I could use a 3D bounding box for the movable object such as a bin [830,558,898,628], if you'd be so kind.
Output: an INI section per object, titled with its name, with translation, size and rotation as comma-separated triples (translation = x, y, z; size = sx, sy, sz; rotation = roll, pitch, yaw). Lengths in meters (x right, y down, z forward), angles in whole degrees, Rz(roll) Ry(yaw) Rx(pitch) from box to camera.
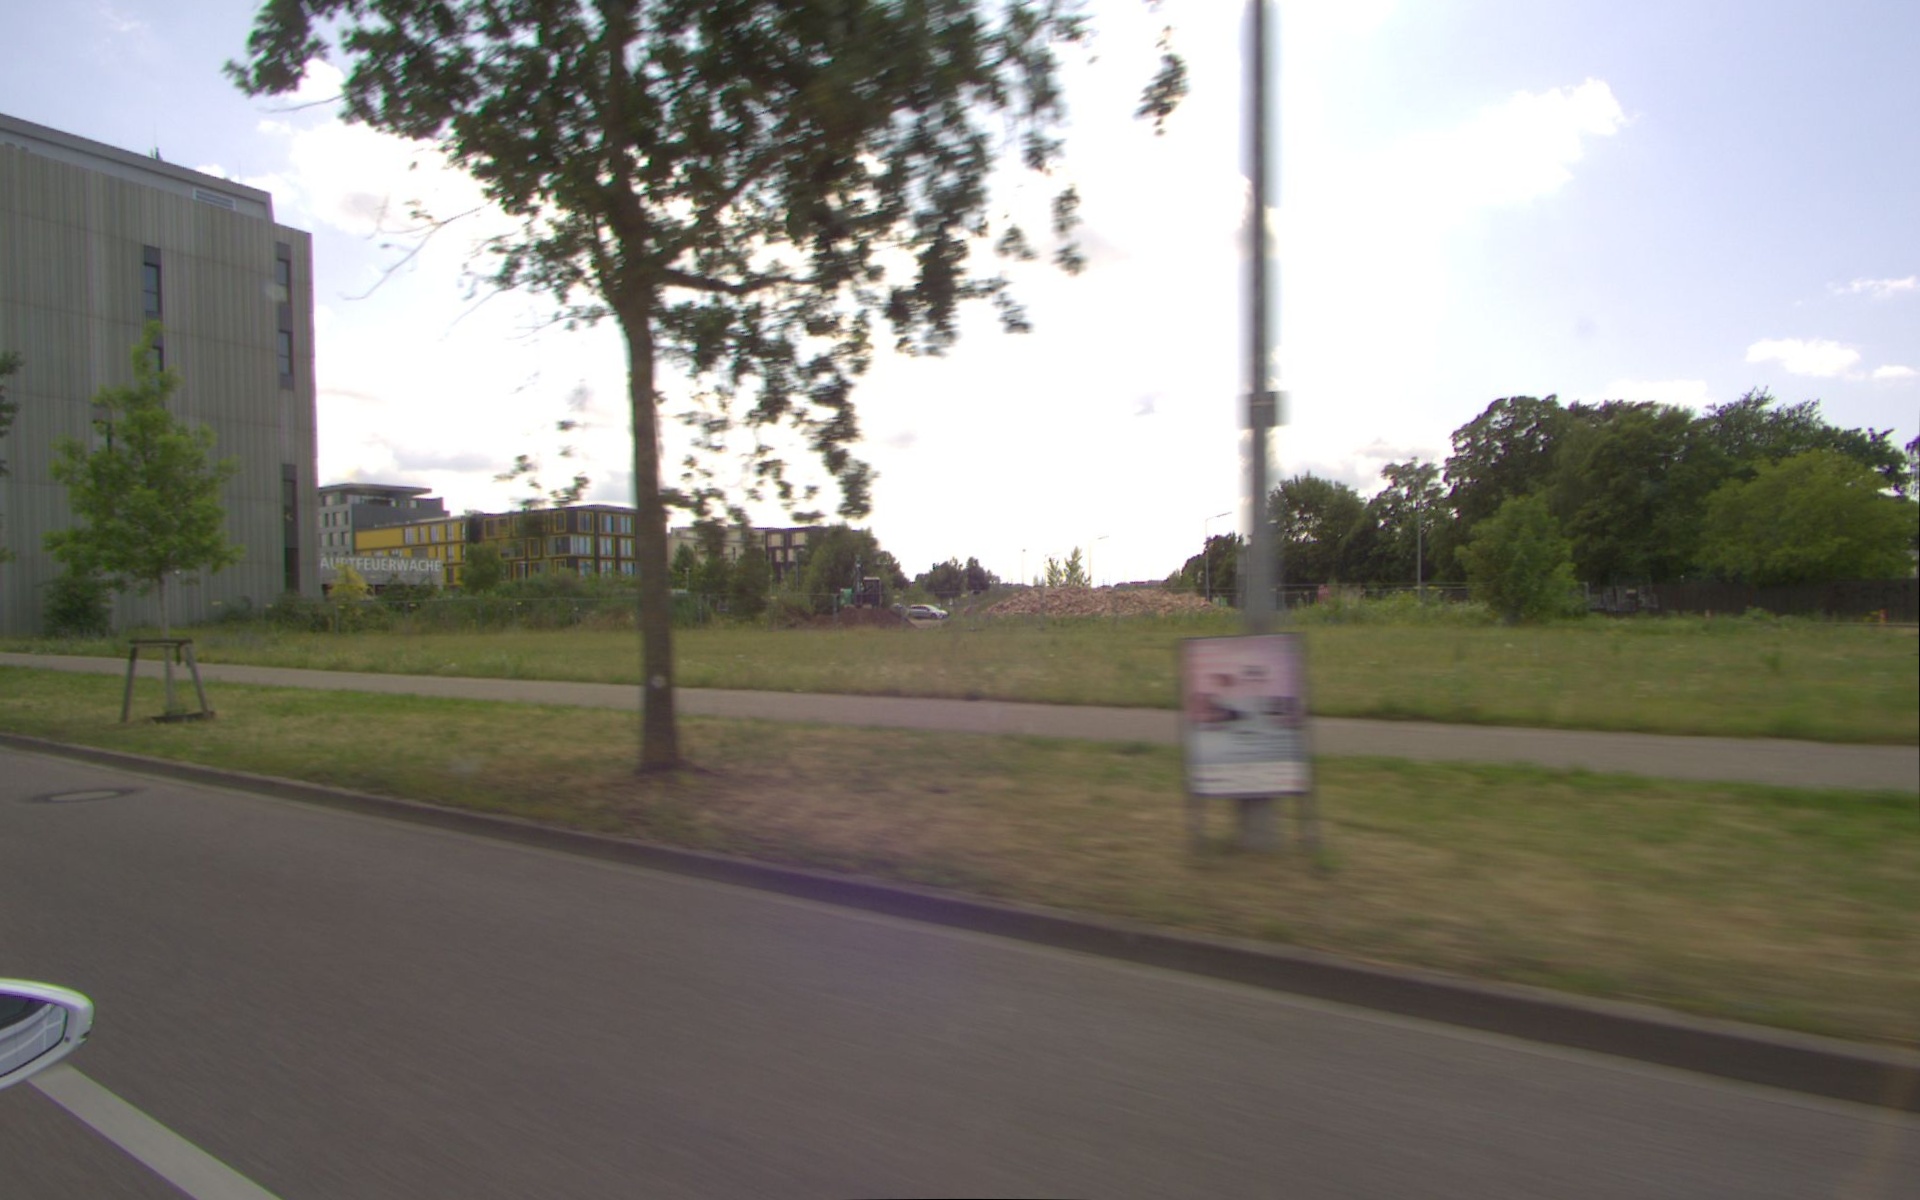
[movable object such as a bin]
translation = -5.945, -0.294, 60.843
size = 2.993, 3.901, 7.611
rotation = 0, -2, -14
